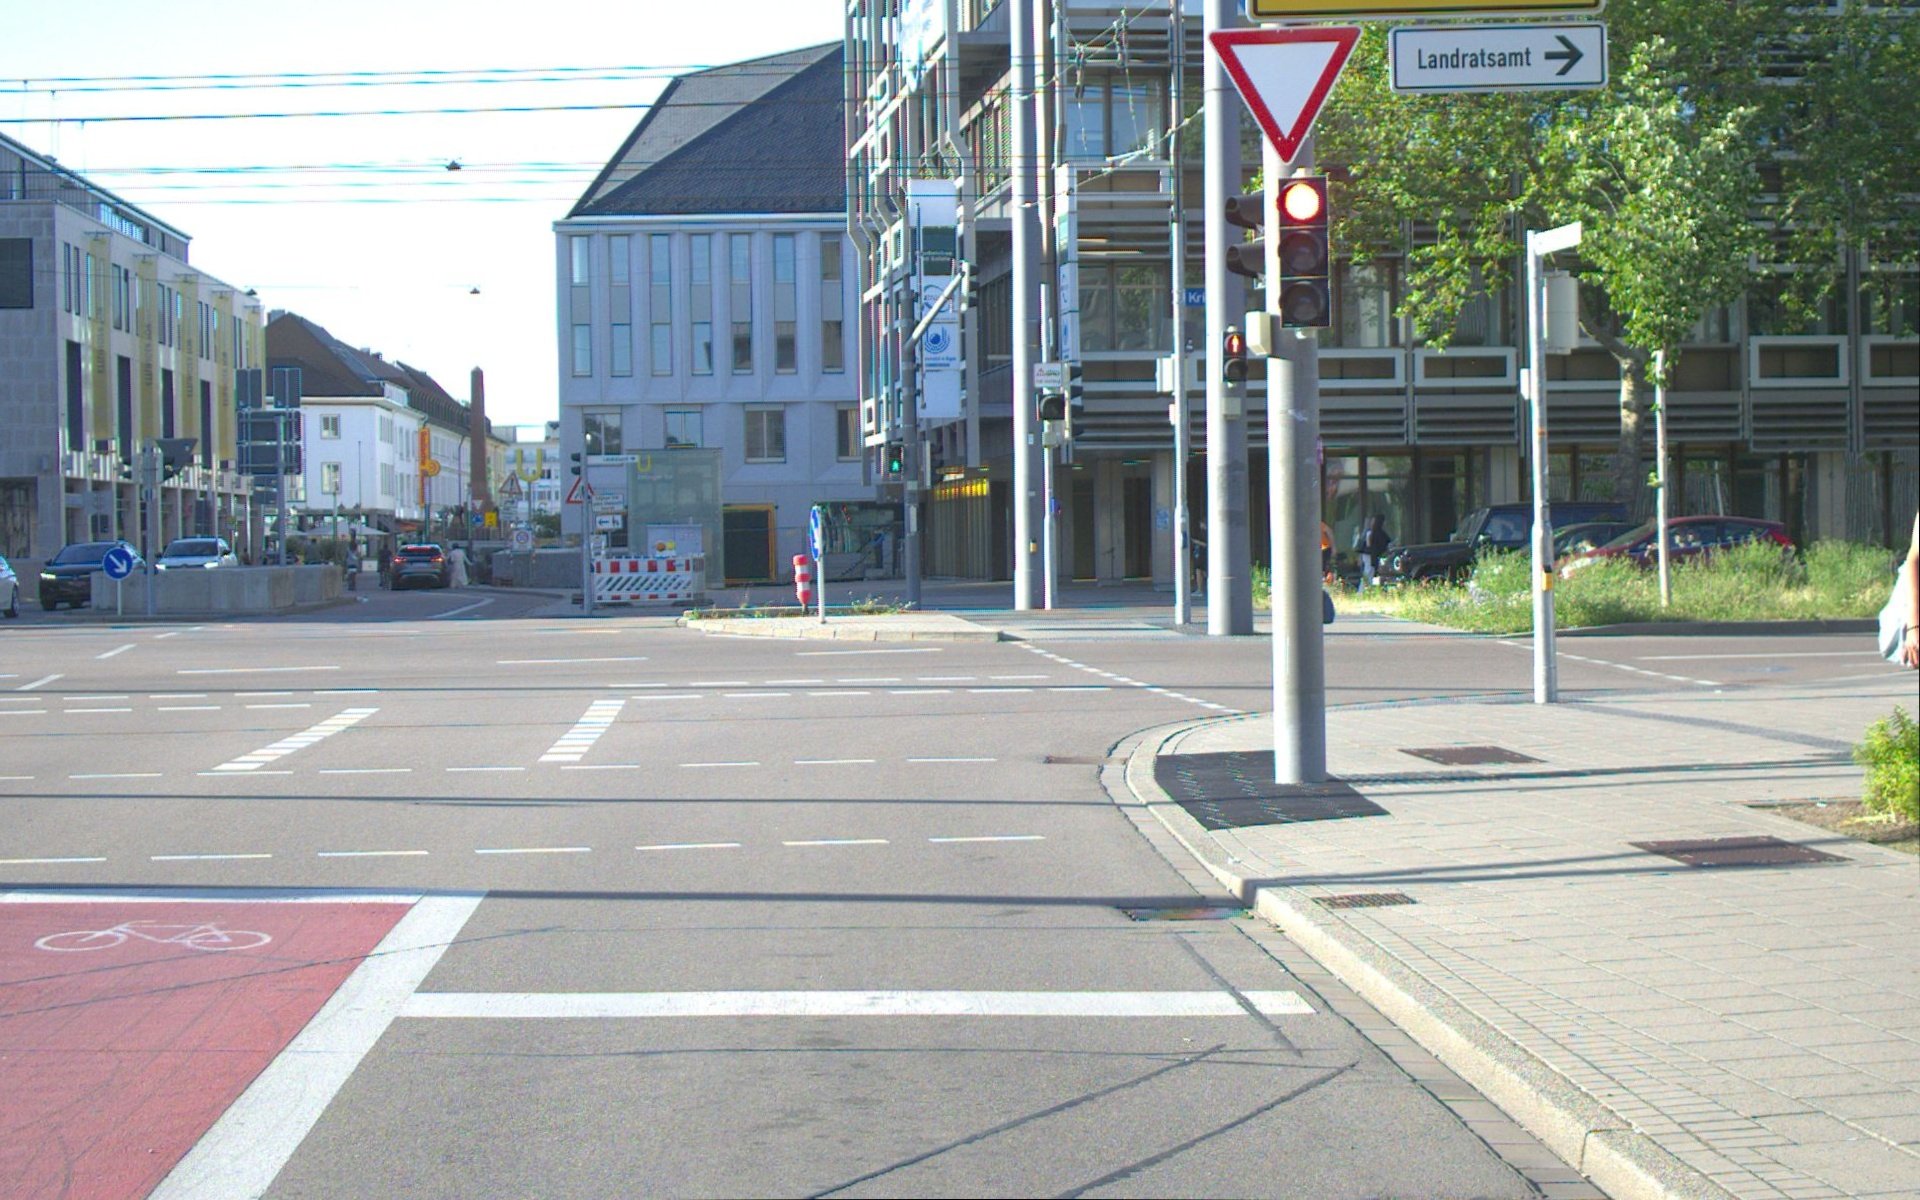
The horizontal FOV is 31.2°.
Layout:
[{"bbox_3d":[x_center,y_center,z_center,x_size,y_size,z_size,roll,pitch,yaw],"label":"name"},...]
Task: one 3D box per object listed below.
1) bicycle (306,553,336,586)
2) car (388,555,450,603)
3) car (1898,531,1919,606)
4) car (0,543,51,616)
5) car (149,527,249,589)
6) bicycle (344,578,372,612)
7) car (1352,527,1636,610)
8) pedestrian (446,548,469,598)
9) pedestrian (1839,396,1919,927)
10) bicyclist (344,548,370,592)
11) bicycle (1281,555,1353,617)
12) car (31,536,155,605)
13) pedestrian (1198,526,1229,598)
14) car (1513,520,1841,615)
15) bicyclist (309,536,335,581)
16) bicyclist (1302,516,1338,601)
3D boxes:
[{"bbox_3d":[-21.057,-1.009,113.309,0.741,1.042,2.432,-1,1,-6],"label":"bicycle"},{"bbox_3d":[-18.124,-0.715,115.165,1.993,1.546,4.001,-1,1,-9],"label":"car"},{"bbox_3d":[19.788,-0.601,62.952,4.630,1.351,2.001,-1,2,-6],"label":"car"},{"bbox_3d":[-20.036,-0.409,69.589,1.993,1.351,4.646,-1,2,1],"label":"car"},{"bbox_3d":[-20.923,-1.180,94.675,1.993,1.617,4.238,-1,1,-3],"label":"car"},{"bbox_3d":[-19.967,-0.173,114.041,0.741,1.042,2.432,-1,1,-6],"label":"bicycle"},{"bbox_3d":[9.495,-0.578,61.304,4.630,1.351,2.001,-1,2,-6],"label":"car"},{"bbox_3d":[-16.901,-0.913,115.613,0.714,1.662,0.987,-1,1,-6],"label":"pedestrian"},{"bbox_3d":[3.486,0.185,11.691,0.822,1.742,1.041,-2,1,19],"label":"pedestrian"},{"bbox_3d":[-20.004,-1.002,114.019,0.746,1.456,0.767,-1,1,-5],"label":"bicyclist"},{"bbox_3d":[5.661,-0.225,54.504,1.076,0.967,0.458,-1,1,0],"label":"bicycle"},{"bbox_3d":[-20.215,-0.703,80.291,1.993,1.525,4.036,-1,1,-2],"label":"car"},{"bbox_3d":[5.393,-0.808,73.081,0.623,1.513,0.653,-1,1,6],"label":"pedestrian"},{"bbox_3d":[11.168,-0.521,53.716,4.630,1.351,2.001,-1,2,-6],"label":"car"},{"bbox_3d":[-21.033,-1.369,113.277,0.746,1.456,0.767,-1,1,-5],"label":"bicyclist"},{"bbox_3d":[5.707,-0.662,54.502,0.508,1.333,0.452,-1,1,0],"label":"bicyclist"}]
